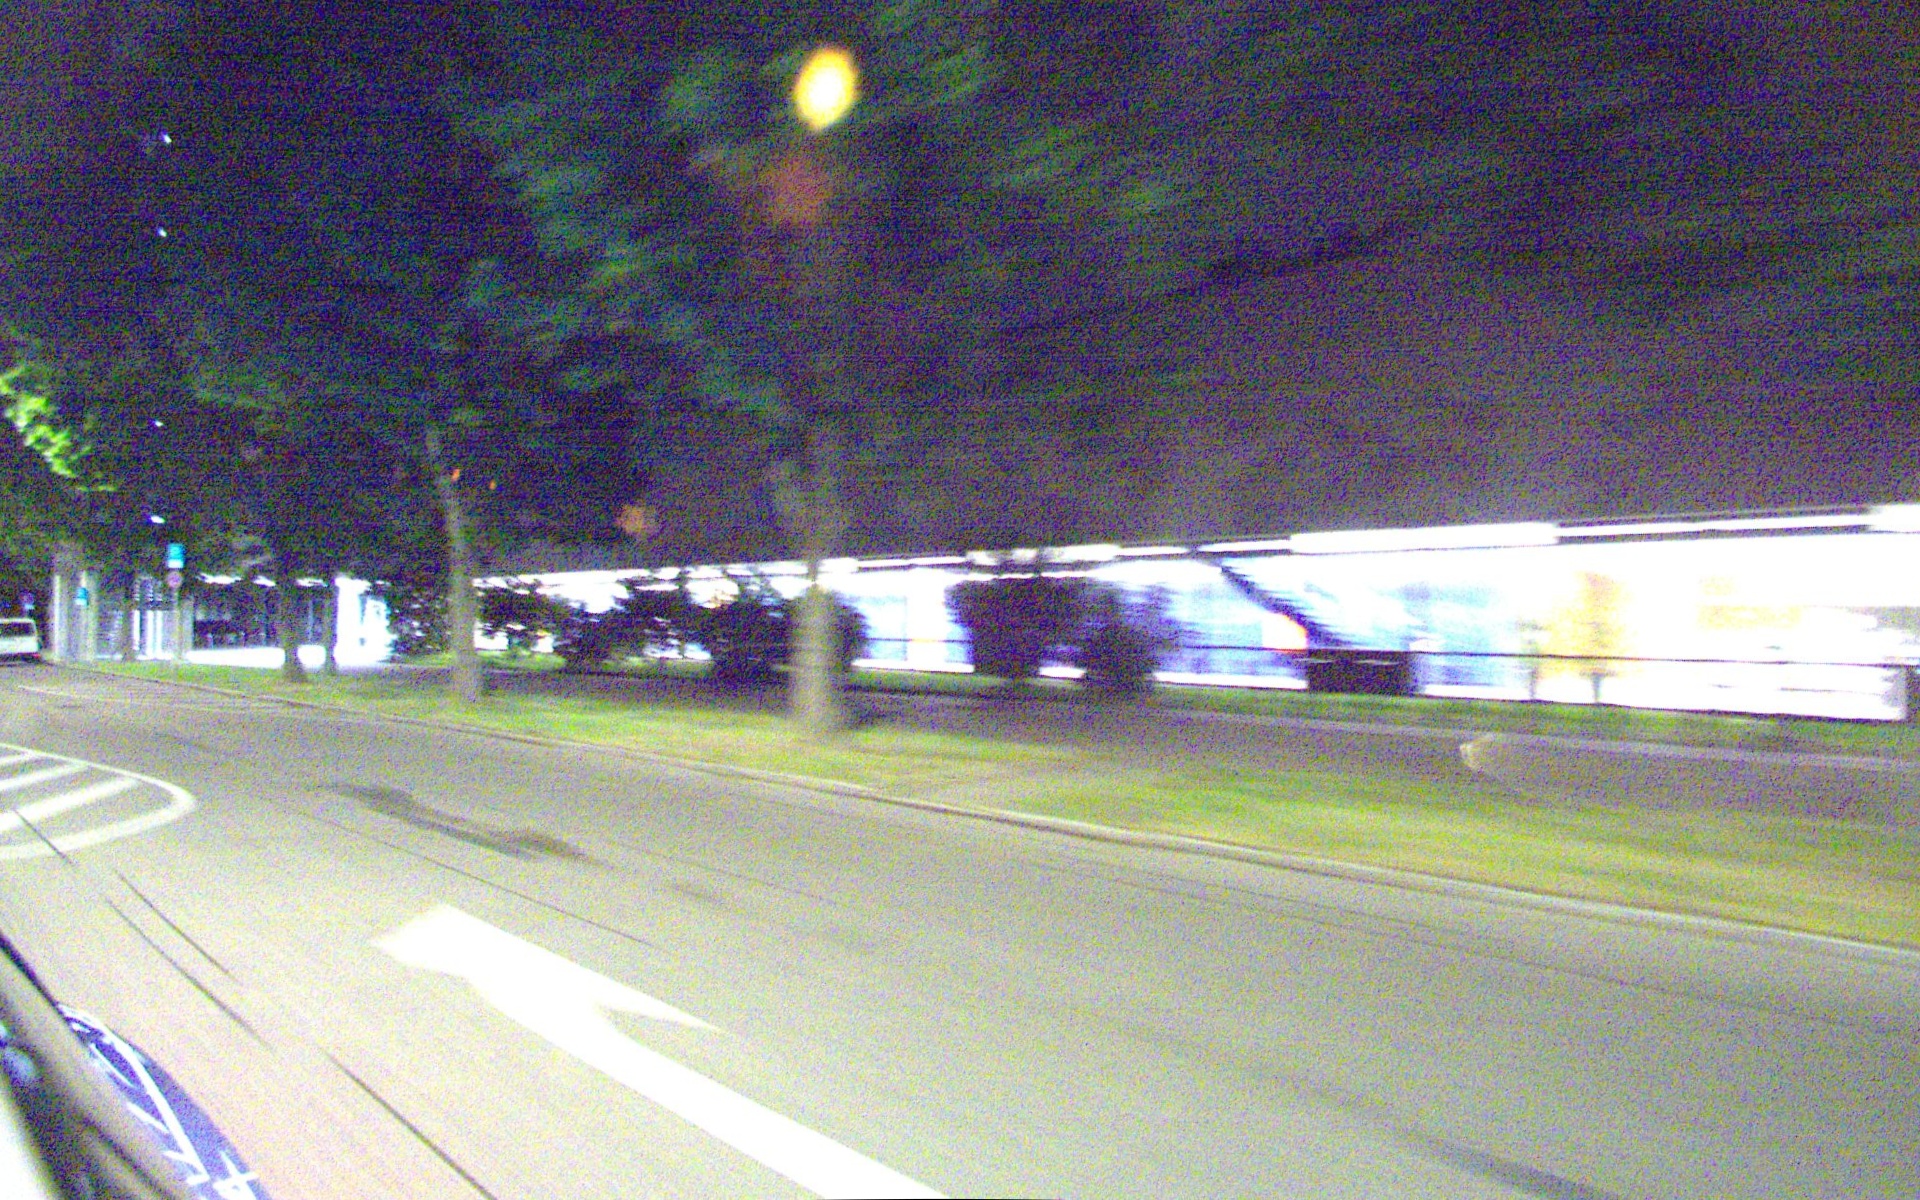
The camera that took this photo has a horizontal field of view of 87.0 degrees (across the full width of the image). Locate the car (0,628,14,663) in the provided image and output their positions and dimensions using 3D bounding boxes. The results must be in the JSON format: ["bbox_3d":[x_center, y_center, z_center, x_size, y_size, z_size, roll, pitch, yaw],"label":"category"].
[{"bbox_3d":[-41.911,1.960,43.310,3.731,1.443,1.802,-1,0,43],"label":"car"}]

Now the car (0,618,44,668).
[{"bbox_3d":[-37.316,1.661,39.616,3.731,1.822,1.857,-1,0,43],"label":"car"}]
